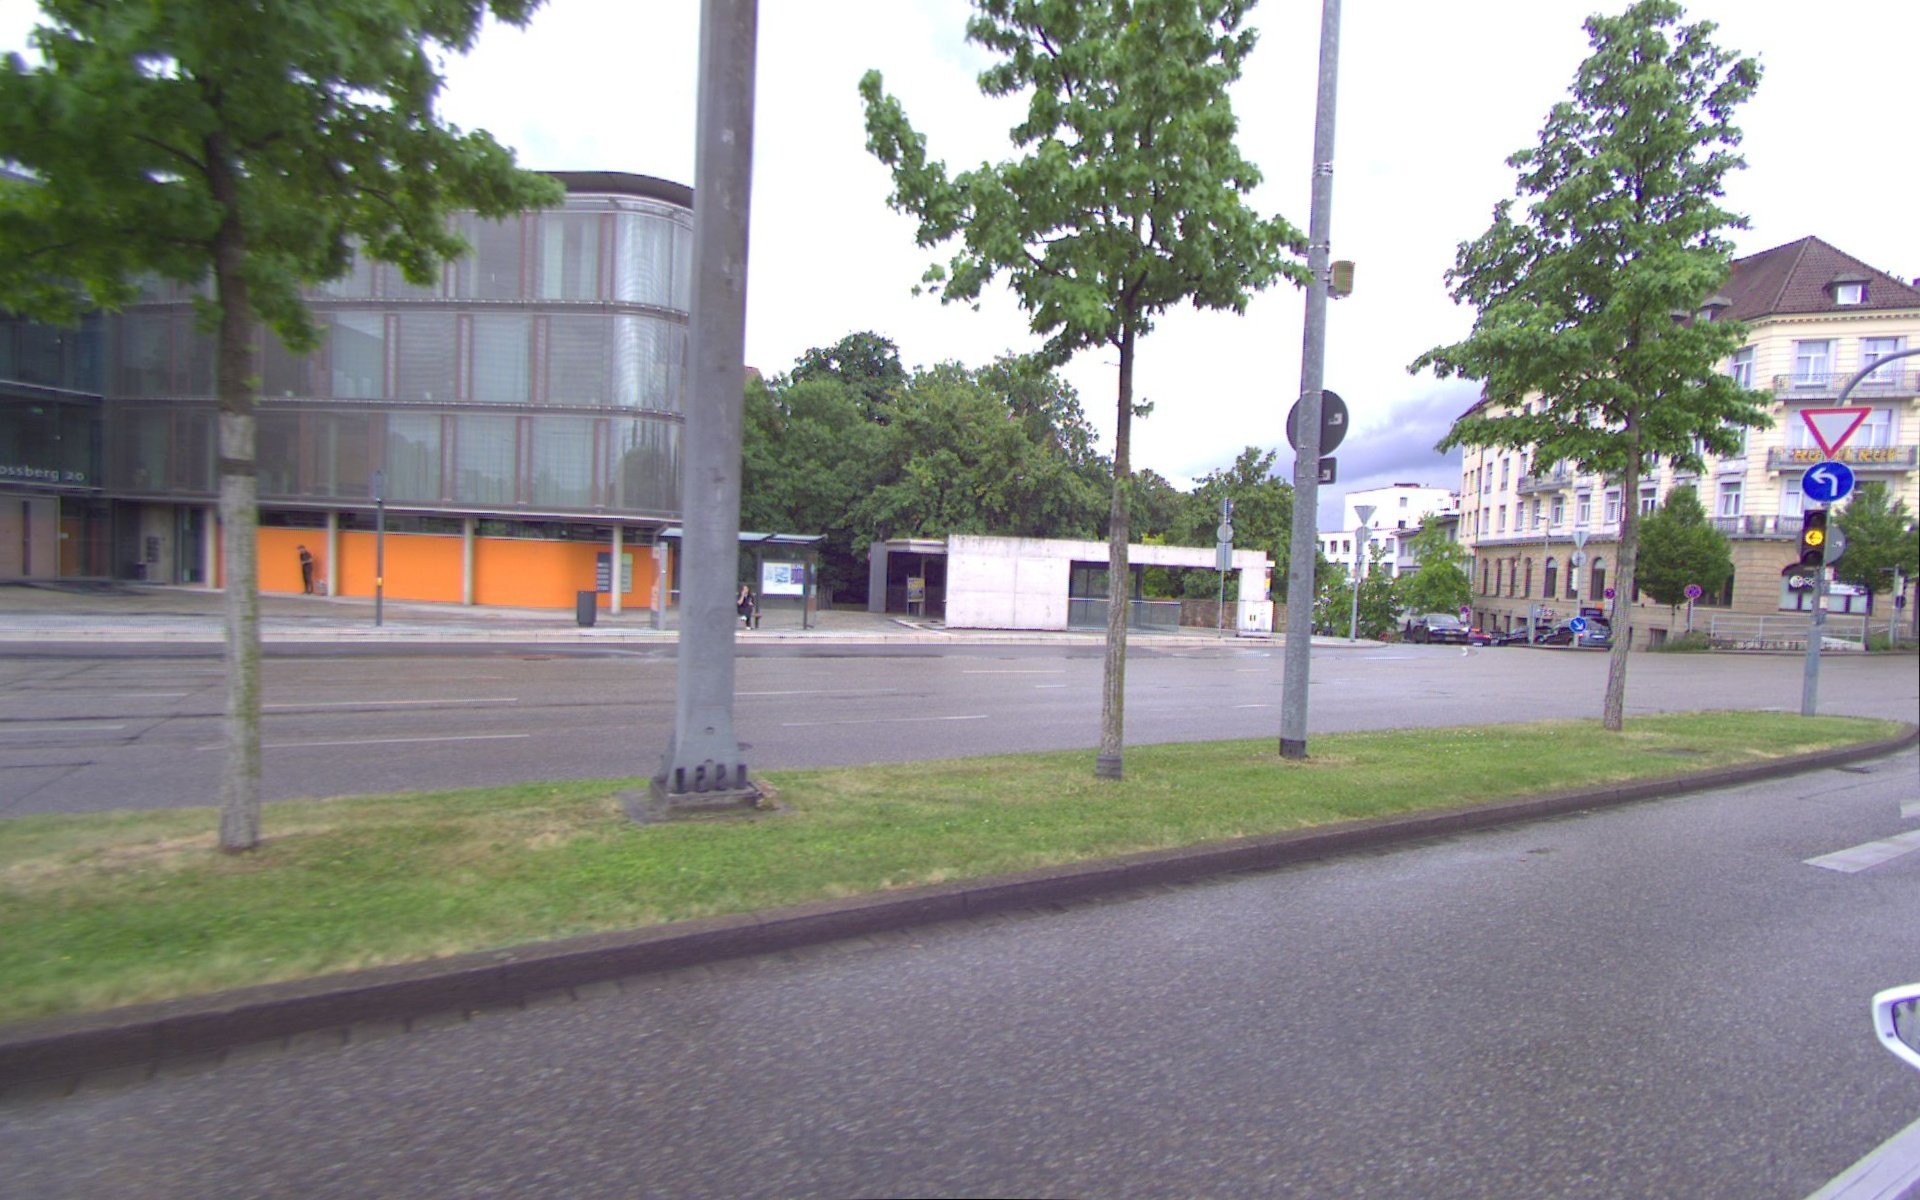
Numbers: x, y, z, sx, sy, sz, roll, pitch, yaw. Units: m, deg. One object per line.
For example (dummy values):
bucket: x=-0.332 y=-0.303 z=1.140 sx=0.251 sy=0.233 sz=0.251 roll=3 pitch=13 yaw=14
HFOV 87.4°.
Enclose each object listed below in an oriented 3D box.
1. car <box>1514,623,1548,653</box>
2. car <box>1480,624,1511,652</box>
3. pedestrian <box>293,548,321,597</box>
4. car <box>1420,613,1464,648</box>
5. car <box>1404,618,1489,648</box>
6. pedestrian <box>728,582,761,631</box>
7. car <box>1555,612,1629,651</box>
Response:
car: x=32.818 y=2.137 z=57.738 sx=1.634 sy=1.626 sz=3.246 roll=-1 pitch=-1 yaw=30
car: x=33.293 y=2.353 z=62.445 sx=1.633 sy=1.626 sz=3.247 roll=-1 pitch=-1 yaw=29
pedestrian: x=-22.843 y=-0.958 z=35.127 sx=0.630 sy=1.706 sz=0.475 roll=2 pitch=1 yaw=0
car: x=23.446 y=1.455 z=48.974 sx=1.819 sy=1.606 sz=3.473 roll=-1 pitch=-1 yaw=24
car: x=27.894 y=1.879 z=57.783 sx=4.320 sy=1.591 sz=1.821 roll=0 pitch=-1 yaw=24
pedestrian: x=-6.091 y=0.181 z=28.490 sx=0.834 sy=1.285 sz=0.977 roll=2 pitch=5 yaw=-10
car: x=32.365 y=1.577 z=51.551 sx=2.077 sy=1.799 sz=4.393 roll=2 pitch=0 yaw=17
